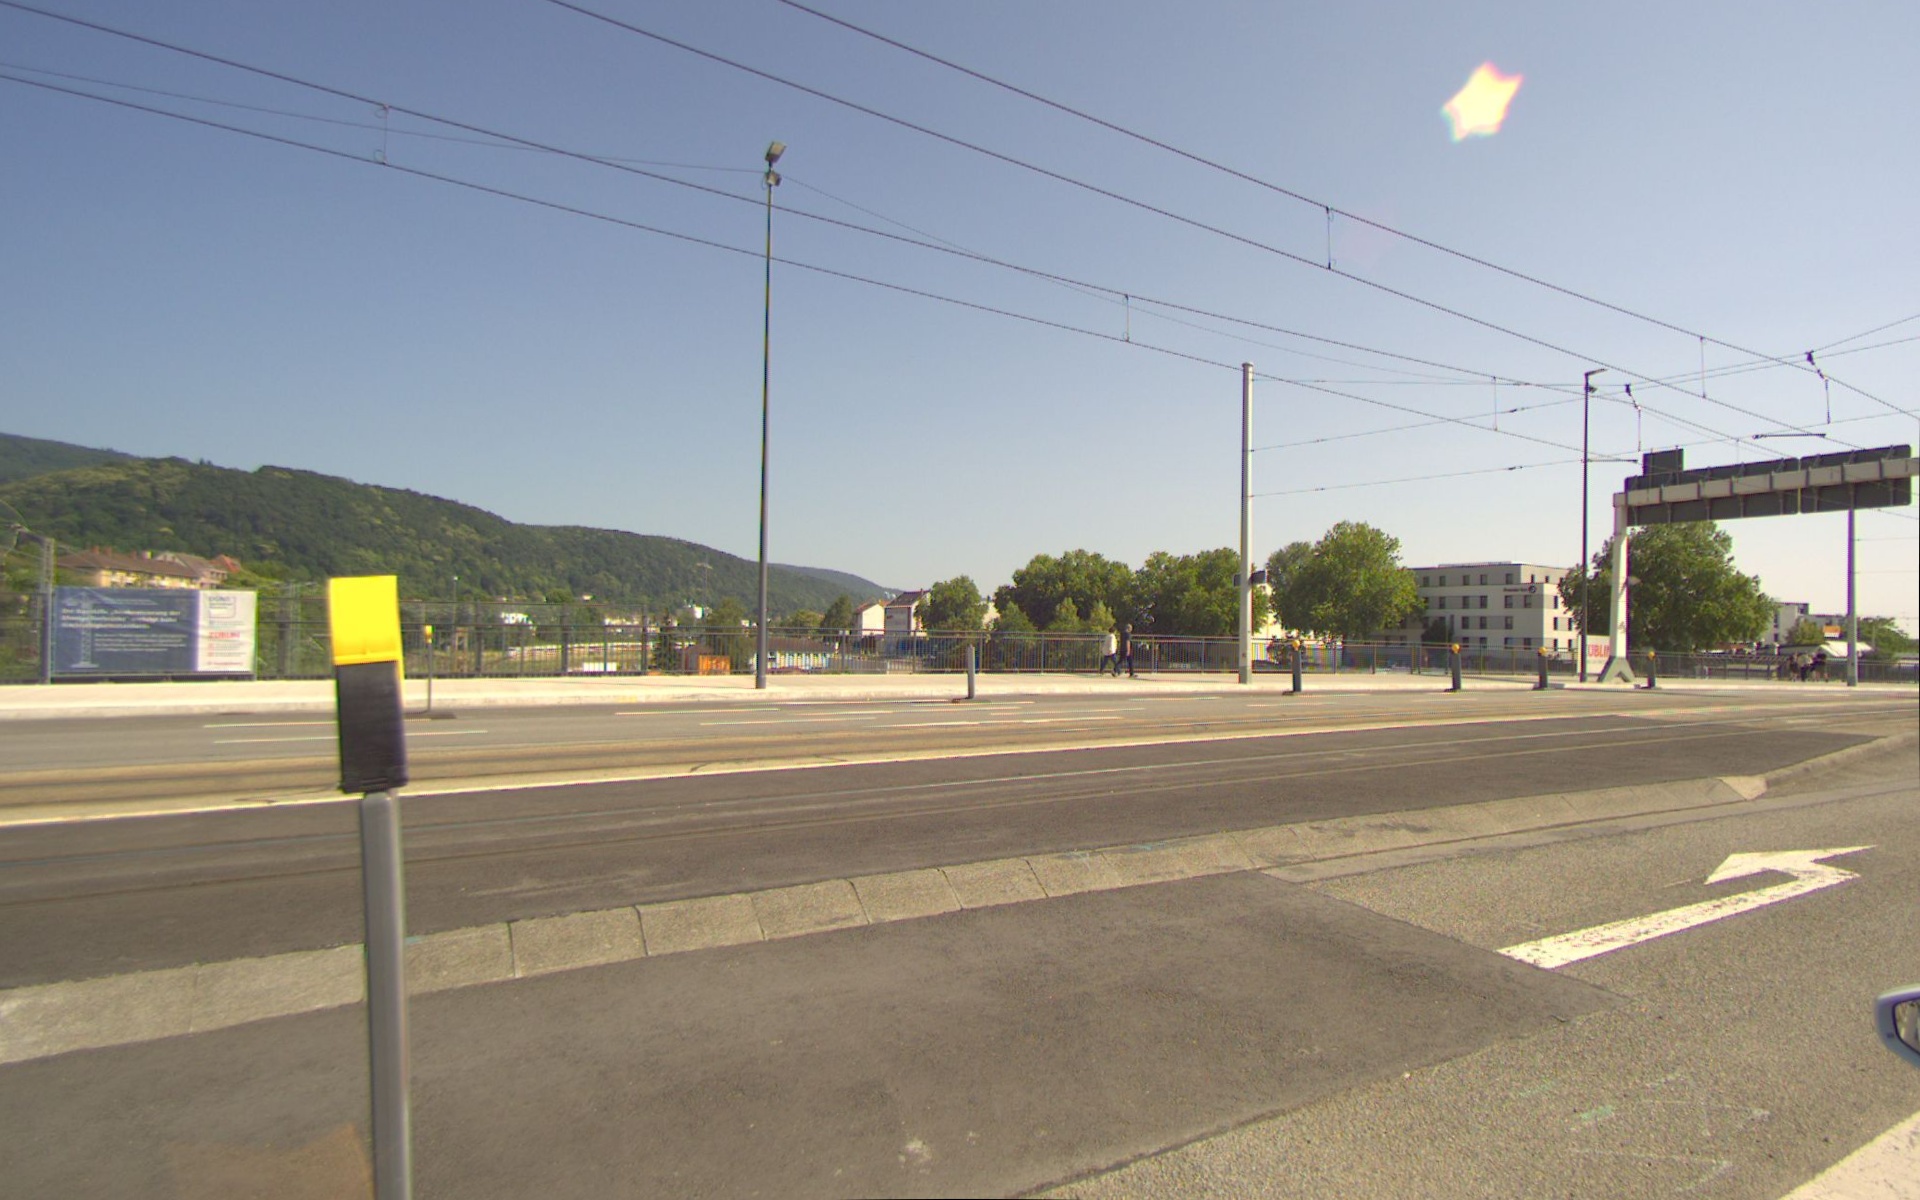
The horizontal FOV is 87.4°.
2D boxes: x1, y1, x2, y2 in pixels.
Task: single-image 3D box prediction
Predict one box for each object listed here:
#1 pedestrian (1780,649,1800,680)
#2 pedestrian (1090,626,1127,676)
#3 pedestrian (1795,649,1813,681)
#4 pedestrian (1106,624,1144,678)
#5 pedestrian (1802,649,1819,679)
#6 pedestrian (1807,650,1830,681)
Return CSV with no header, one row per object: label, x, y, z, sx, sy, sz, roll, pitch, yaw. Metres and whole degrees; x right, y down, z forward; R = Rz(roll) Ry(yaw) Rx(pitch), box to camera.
pedestrian,46.284,3.595,55.990,0.807,1.709,0.595,2,-2,-27
pedestrian,4.850,1.649,32.804,0.878,1.565,0.716,2,1,-30
pedestrian,46.648,3.593,55.496,0.797,1.709,0.484,2,-2,-27
pedestrian,5.256,1.634,32.069,0.884,1.663,0.740,2,1,-30
pedestrian,48.668,3.651,57.496,0.763,1.709,0.502,2,-2,-27
pedestrian,48.175,3.645,56.350,0.722,1.709,0.750,2,-2,-27
